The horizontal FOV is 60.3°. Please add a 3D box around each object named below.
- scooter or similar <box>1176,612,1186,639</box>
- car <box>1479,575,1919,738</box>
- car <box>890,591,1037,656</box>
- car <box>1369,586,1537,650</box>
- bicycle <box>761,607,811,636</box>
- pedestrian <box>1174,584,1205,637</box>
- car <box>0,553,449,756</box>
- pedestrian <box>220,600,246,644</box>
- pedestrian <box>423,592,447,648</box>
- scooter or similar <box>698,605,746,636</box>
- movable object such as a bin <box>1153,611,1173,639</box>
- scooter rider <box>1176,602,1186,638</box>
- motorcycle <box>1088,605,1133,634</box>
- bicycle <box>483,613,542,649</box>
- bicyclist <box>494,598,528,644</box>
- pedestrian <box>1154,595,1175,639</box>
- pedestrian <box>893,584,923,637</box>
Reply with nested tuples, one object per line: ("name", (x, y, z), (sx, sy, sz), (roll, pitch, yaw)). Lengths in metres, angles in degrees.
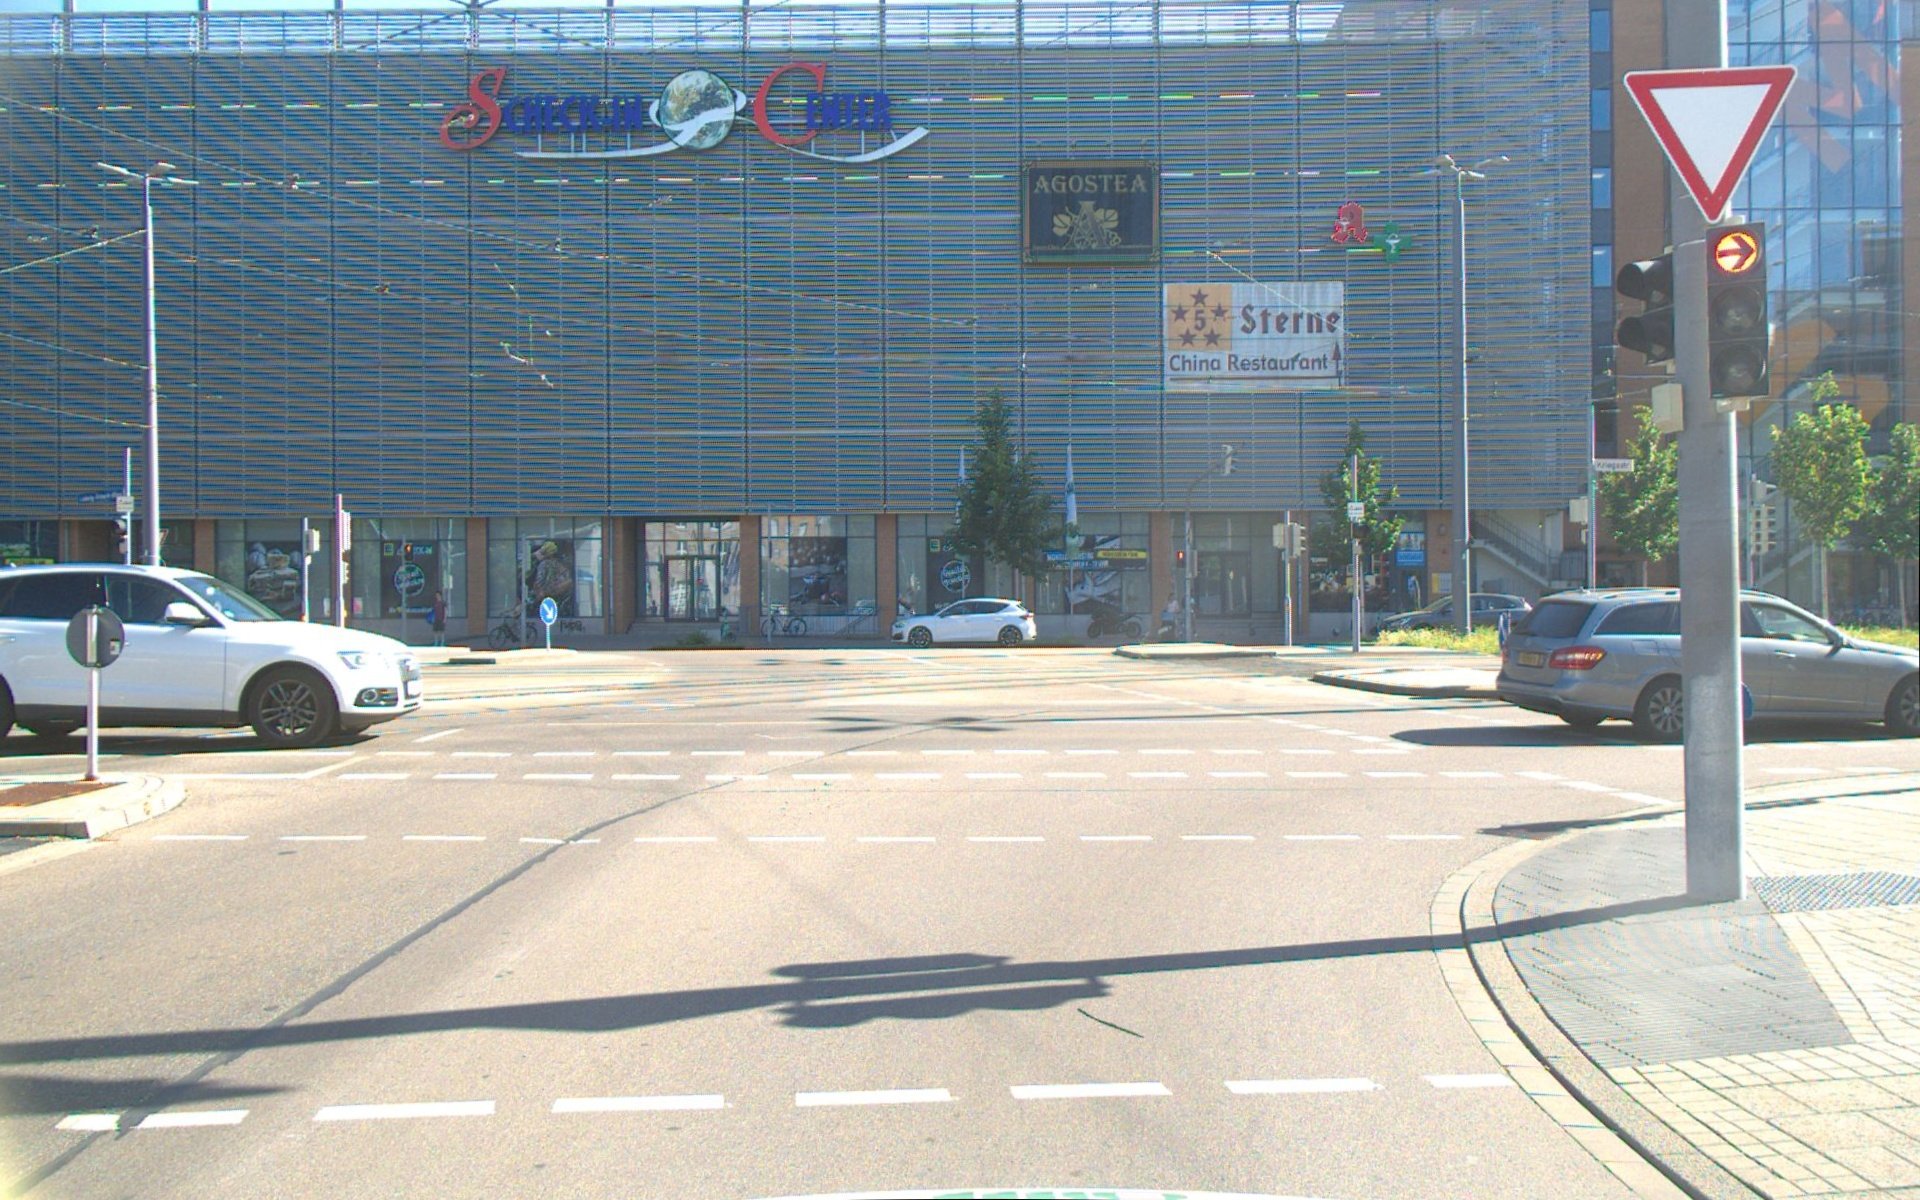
("scooter or similar", (7.366, 0.833, 55.190), (0.288, 0.888, 1.004), (1, 0, 10))
("car", (8.156, 0.550, 17.609), (4.765, 1.599, 1.704), (0, 0, -8))
("car", (0.083, 0.695, 48.996), (4.203, 1.673, 1.840), (3, -1, -2))
("car", (13.670, 0.497, 46.047), (4.063, 1.495, 1.840), (3, -1, -2))
("bicycle", (-6.366, 0.777, 60.432), (1.783, 1.006, 0.556), (0, 1, -11))
("pedestrian", (8.235, 0.375, 59.391), (0.991, 1.860, 1.036), (-2, 0, 3))
("car", (-7.375, 0.474, 15.522), (4.578, 1.737, 1.935), (-1, 0, -5))
("pedestrian", (-27.186, 0.835, 61.861), (0.646, 1.629, 0.594), (1, -1, 18))
("pedestrian", (-17.338, 0.660, 54.667), (0.683, 1.829, 0.727), (-2, 0, -17))
("scooter or similar", (-8.746, 0.745, 60.779), (1.759, 1.085, 0.611), (0, 1, -9))
("movable object such as a bin", (6.741, 0.831, 54.897), (0.599, 0.920, 0.970), (1, 0, 10))
("scooter rider", (7.360, 0.667, 55.131), (0.282, 1.221, 0.386), (1, -1, 10))
("motorcycle", (5.529, 0.727, 60.708), (1.605, 1.022, 0.447), (1, 0, 6))
("bicycle", (-14.767, 1.004, 54.618), (0.559, 1.105, 1.852), (0, 2, 42))
("bicyclist", (-14.799, 0.688, 54.543), (0.663, 1.452, 0.844), (0, 2, 42))
("pedestrian", (6.857, 0.577, 55.364), (0.641, 1.438, 0.850), (1, 0, 10))
("pedestrian", (-1.868, 0.378, 59.664), (0.930, 1.860, 0.846), (-2, -4, 5))
